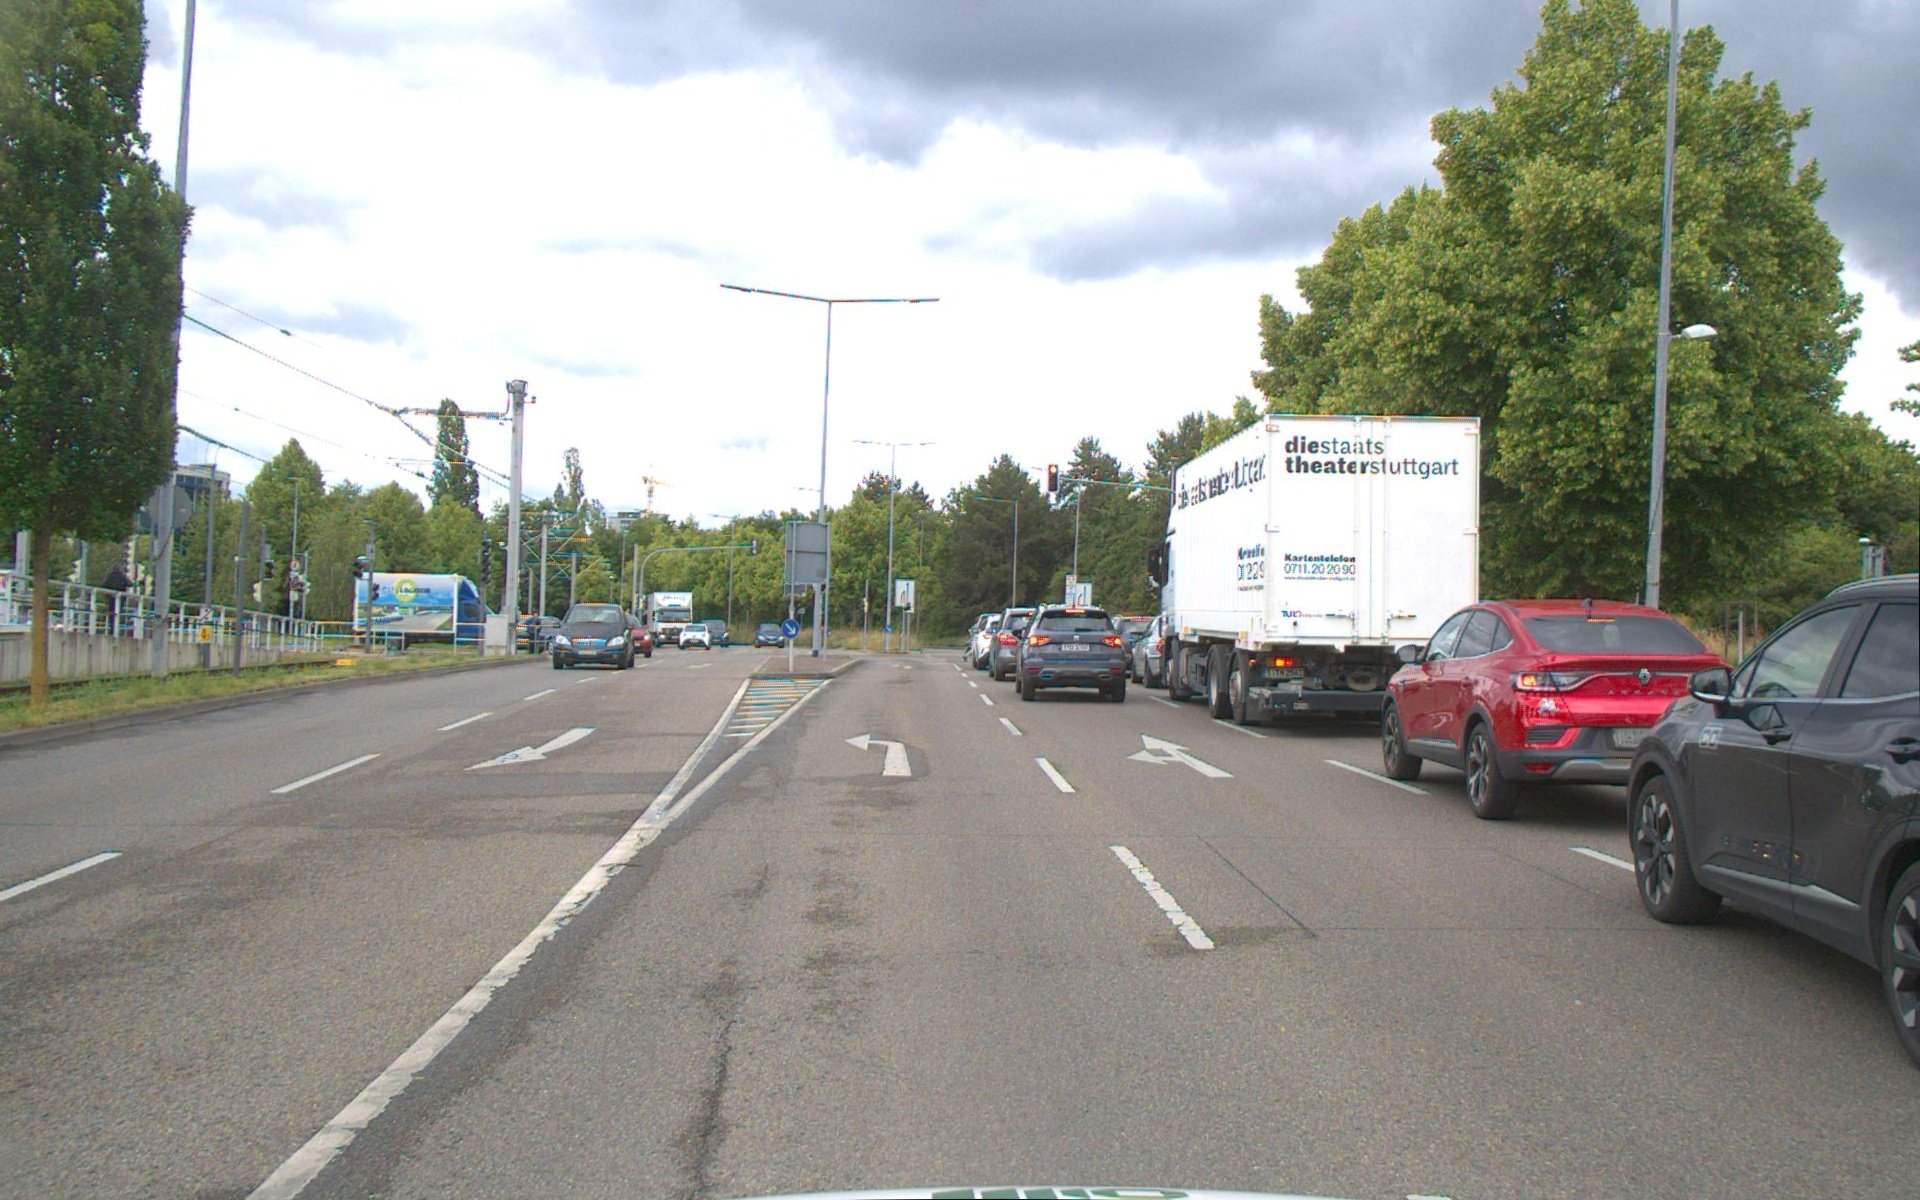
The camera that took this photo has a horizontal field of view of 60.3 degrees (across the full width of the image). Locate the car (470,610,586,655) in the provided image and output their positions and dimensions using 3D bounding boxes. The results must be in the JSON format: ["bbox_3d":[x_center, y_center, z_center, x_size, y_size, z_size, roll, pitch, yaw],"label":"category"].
[{"bbox_3d":[-16.848,1.256,64.615,3.902,1.623,2.002,1,2,7],"label":"car"}]

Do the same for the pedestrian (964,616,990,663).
[{"bbox_3d":[0.574,1.347,56.943,0.846,1.587,0.518,0,2,-3],"label":"pedestrian"}]

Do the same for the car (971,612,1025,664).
[{"bbox_3d":[1.141,1.151,50.285,1.504,1.531,2.669,0,-1,-2],"label":"car"}]

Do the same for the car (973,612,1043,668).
[{"bbox_3d":[1.261,1.074,45.134,1.686,1.447,4.355,0,-1,-1],"label":"car"}]

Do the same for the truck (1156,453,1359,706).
[{"bbox_3d":[4.707,-0.314,26.872,2.518,3.770,4.105,0,0,-1],"label":"truck"}]

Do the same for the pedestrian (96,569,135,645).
[{"bbox_3d":[-20.855,0.182,40.861,0.561,1.860,0.792,1,-1,-5],"label":"pedestrian"}]

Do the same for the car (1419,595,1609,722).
[{"bbox_3d":[7.793,0.781,23.516,1.538,1.598,3.058,2,1,-2],"label":"car"}]

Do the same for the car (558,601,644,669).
[{"bbox_3d":[-8.873,0.861,41.147,1.692,1.601,3.701,1,-1,-6],"label":"car"}]

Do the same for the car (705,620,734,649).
[{"bbox_3d":[-16.703,2.356,114.884,1.879,1.757,3.995,0,2,-7],"label":"car"}]

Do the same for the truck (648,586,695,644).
[{"bbox_3d":[-19.599,0.990,112.108,2.614,3.713,9.471,2,0,-13],"label":"truck"}]

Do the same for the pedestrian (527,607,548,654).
[{"bbox_3d":[-14.572,1.032,57.022,0.346,1.583,0.652,1,2,32],"label":"pedestrian"}]

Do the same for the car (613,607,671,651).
[{"bbox_3d":[-11.347,1.021,59.221,1.670,1.514,4.081,0,0,-6],"label":"car"}]

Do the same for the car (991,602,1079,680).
[{"bbox_3d":[1.583,0.850,36.223,1.762,1.550,4.187,1,0,0],"label":"car"}]

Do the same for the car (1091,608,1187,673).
[{"bbox_3d":[4.239,0.950,39.673,1.788,1.460,4.212,1,-1,-1],"label":"car"}]

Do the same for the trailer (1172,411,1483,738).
[{"bbox_3d":[4.761,-0.319,23.048,2.513,3.770,7.763,0,0,-1],"label":"trailer"}]

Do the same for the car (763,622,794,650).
[{"bbox_3d":[-11.960,2.363,108.936,1.880,1.603,3.993,0,2,-8],"label":"car"}]

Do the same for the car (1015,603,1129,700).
[{"bbox_3d":[1.822,0.832,27.930,1.663,1.512,3.999,0,-1,0],"label":"car"}]

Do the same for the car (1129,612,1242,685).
[{"bbox_3d":[4.490,0.933,33.431,1.774,1.378,4.118,0,-1,1],"label":"car"}]

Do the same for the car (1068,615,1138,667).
[{"bbox_3d":[4.076,1.163,47.563,1.514,1.428,3.998,0,-1,-2],"label":"car"}]

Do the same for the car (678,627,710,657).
[{"bbox_3d":[-15.613,2.432,97.038,1.743,1.534,3.739,2,1,-9],"label":"car"}]

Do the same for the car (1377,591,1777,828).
[{"bbox_3d":[4.623,0.730,13.106,1.672,1.551,4.320,0,0,2],"label":"car"}]

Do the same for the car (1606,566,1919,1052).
[{"bbox_3d":[4.150,0.678,6.560,1.805,1.588,4.407,0,0,5],"label":"car"}]

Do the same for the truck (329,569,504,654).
[{"bbox_3d":[-24.299,0.497,74.256,7.104,3.661,2.687,0,2,-9],"label":"truck"}]
